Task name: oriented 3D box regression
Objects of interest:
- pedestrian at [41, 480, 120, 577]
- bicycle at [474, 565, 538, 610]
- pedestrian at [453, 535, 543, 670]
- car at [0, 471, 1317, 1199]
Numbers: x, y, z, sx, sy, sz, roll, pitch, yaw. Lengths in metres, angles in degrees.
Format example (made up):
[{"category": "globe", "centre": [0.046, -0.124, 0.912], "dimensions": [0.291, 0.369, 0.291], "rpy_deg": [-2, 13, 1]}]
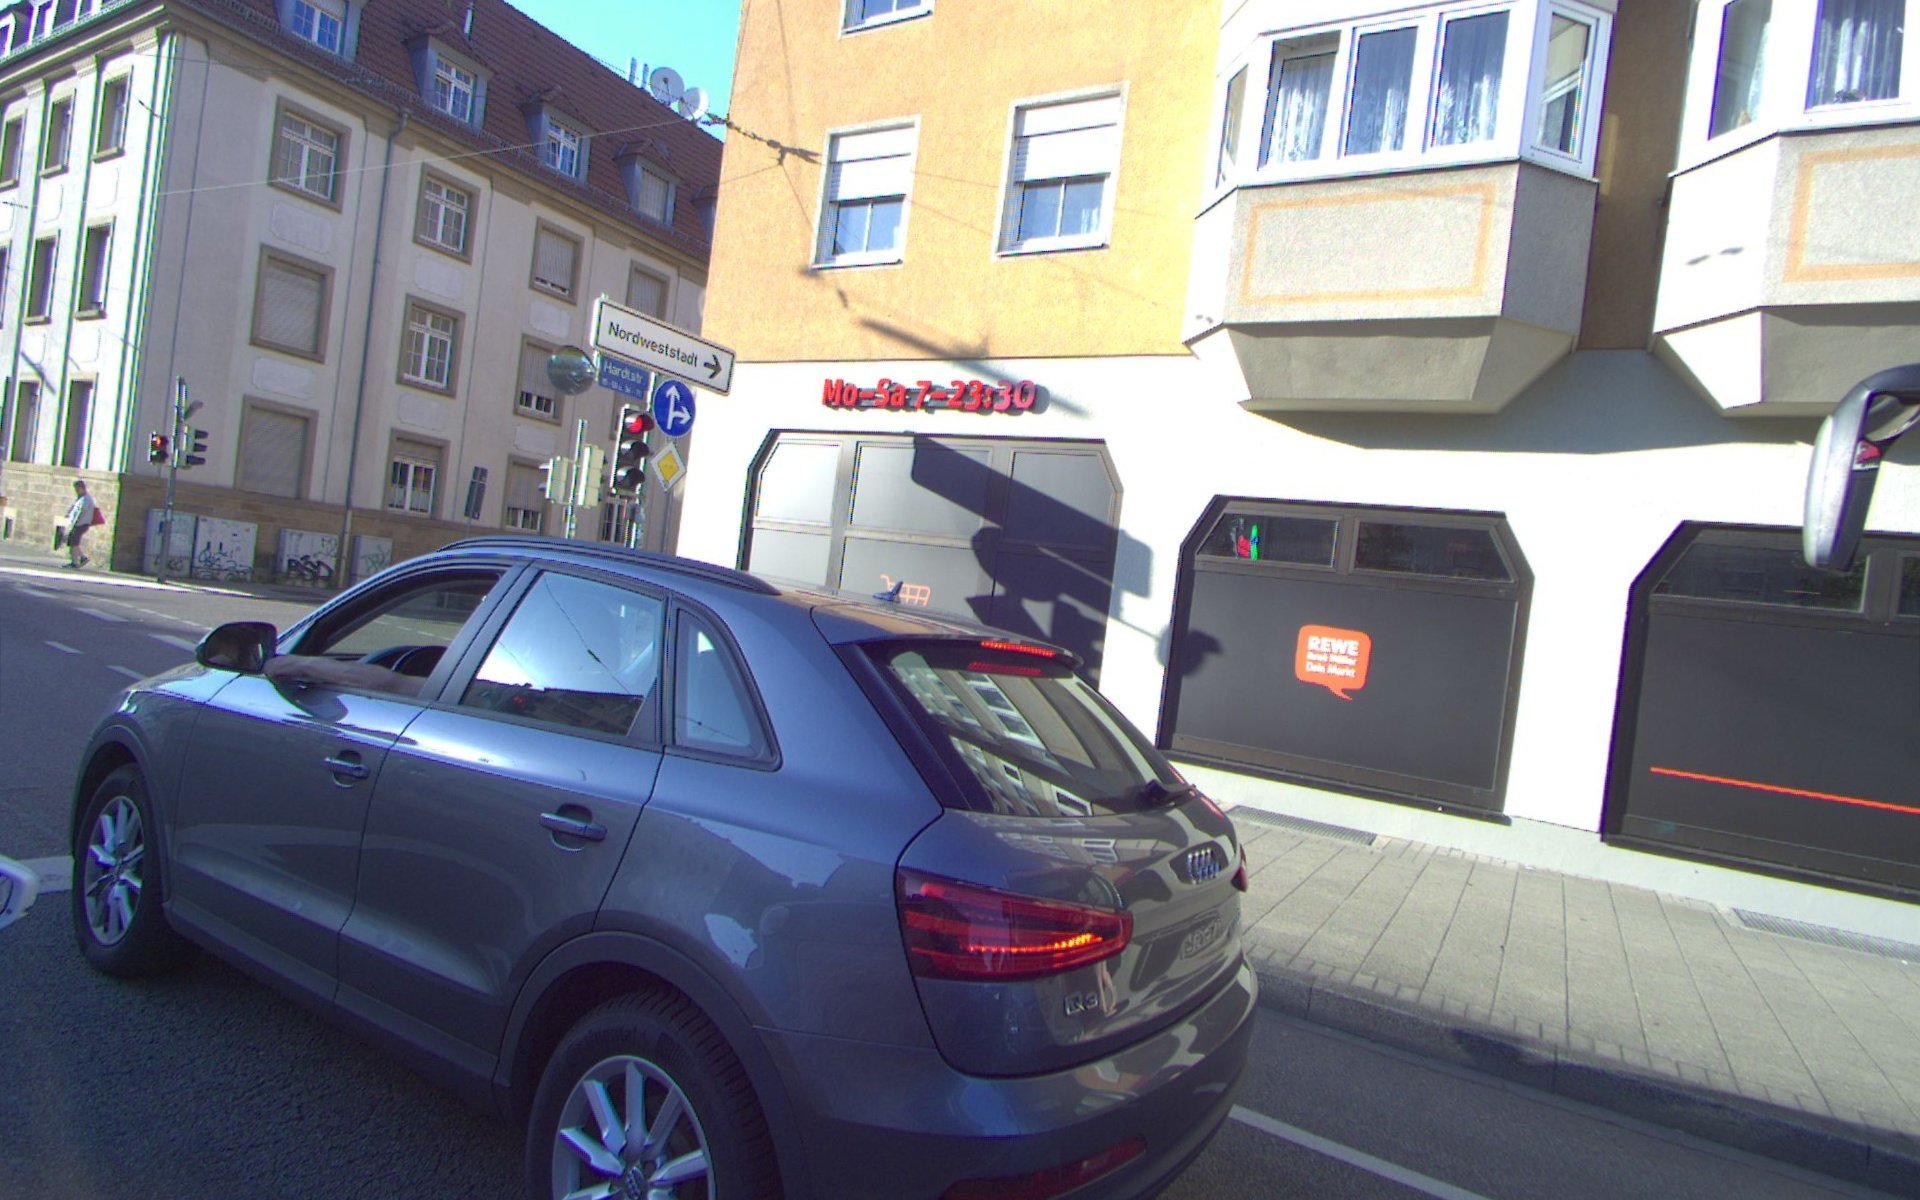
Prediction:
[{"category": "pedestrian", "centre": [-17.800, -1.442, 20.368], "dimensions": [0.810, 1.783, 0.837], "rpy_deg": [6, -1, 31]}, {"category": "bicycle", "centre": [-12.554, -0.334, 27.849], "dimensions": [1.499, 1.029, 0.247], "rpy_deg": [9, -2, -43]}, {"category": "pedestrian", "centre": [-6.540, 0.037, 14.245], "dimensions": [0.812, 1.778, 0.630], "rpy_deg": [6, -1, 32]}, {"category": "car", "centre": [-1.248, 0.605, 3.289], "dimensions": [4.155, 1.571, 1.701], "rpy_deg": [7, -2, 32]}]
